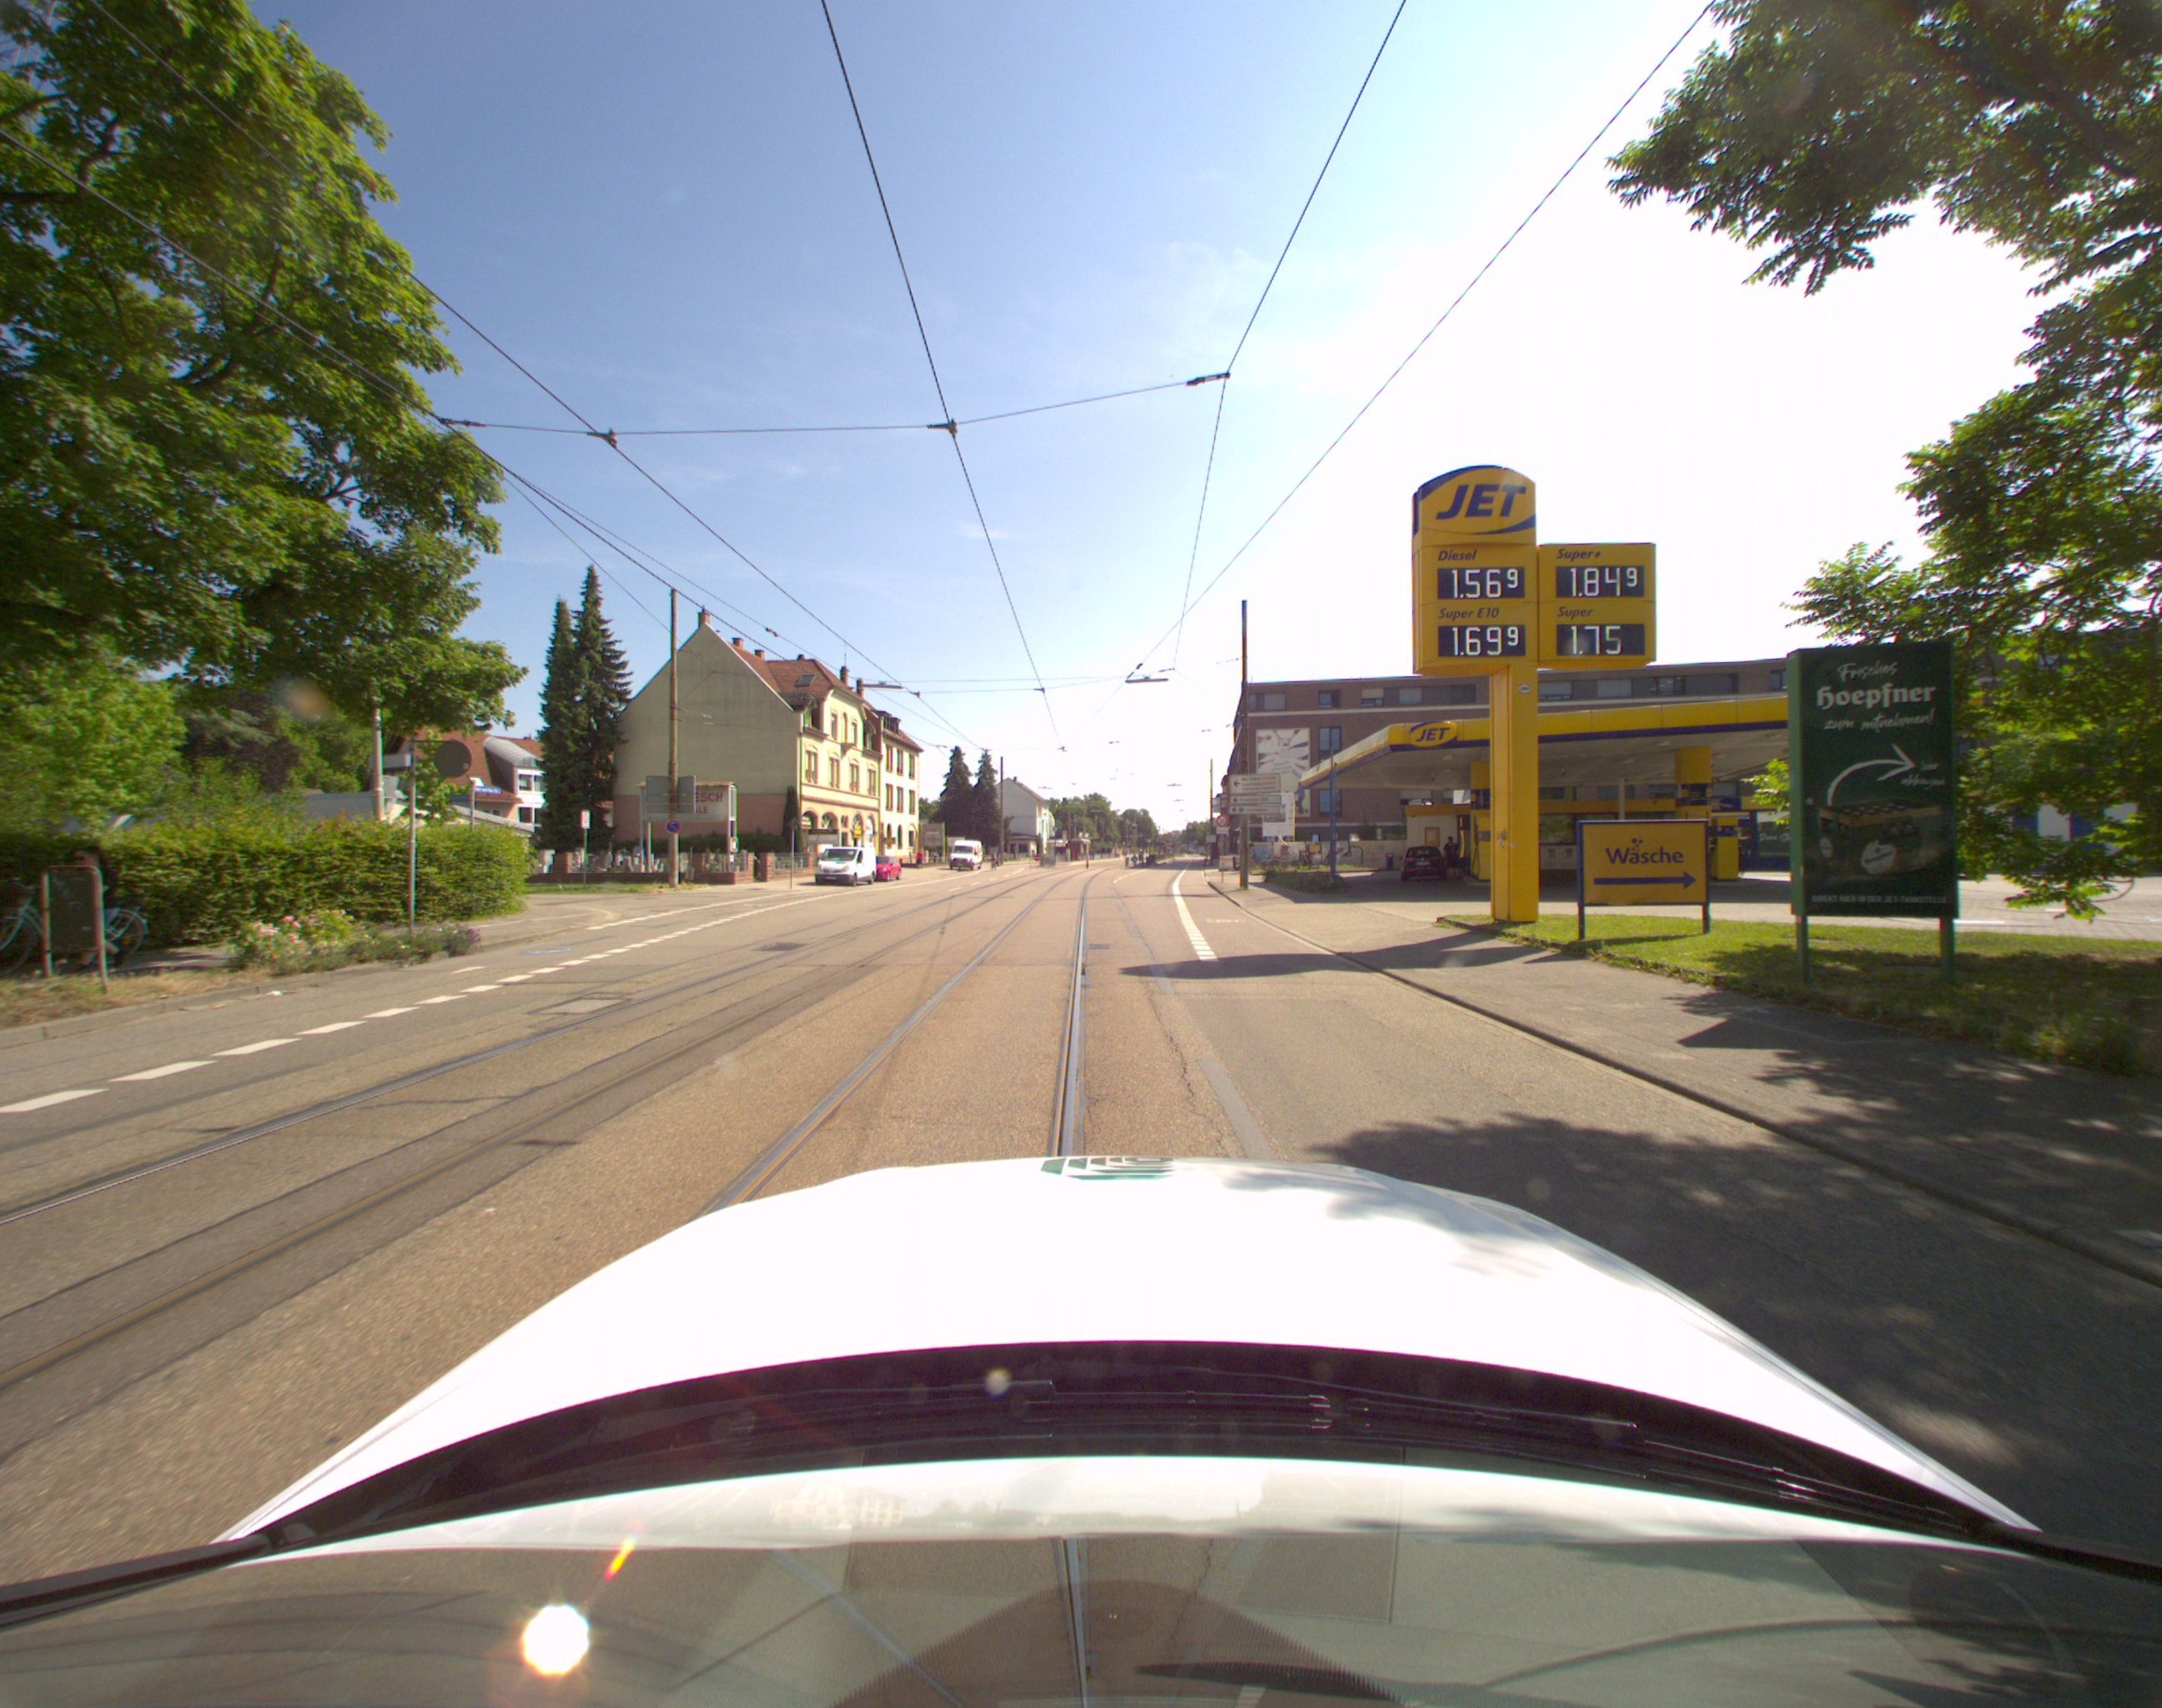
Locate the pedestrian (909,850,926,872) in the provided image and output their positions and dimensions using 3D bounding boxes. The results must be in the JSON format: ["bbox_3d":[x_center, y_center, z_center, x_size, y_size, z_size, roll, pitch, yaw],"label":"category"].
[{"bbox_3d":[-13.372,0.583,66.623,0.936,1.815,1.133,0,0,10],"label":"pedestrian"}]

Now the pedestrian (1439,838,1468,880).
[{"bbox_3d":[15.463,0.195,33.817,0.852,1.725,0.746,-1,1,4],"label":"pedestrian"}]

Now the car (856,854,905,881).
[{"bbox_3d":[-11.610,0.757,47.395,1.713,1.406,4.003,-1,1,2],"label":"car"}]

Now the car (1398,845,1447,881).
[{"bbox_3d":[14.896,0.352,35.408,1.739,1.455,4.435,-1,0,25],"label":"car"}]

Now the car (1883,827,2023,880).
[{"bbox_3d":[35.112,-0.021,33.019,1.740,1.982,5.335,-1,0,22],"label":"car"}]

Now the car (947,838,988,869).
[{"bbox_3d":[-9.871,-0.014,71.193,2.320,2.535,6.510,2,0,2],"label":"car"}]

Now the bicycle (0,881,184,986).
[{"bbox_3d":[-12.575,0.935,10.086,0.634,1.117,2.067,-1,0,0],"label":"bicycle"}]

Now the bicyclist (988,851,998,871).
[{"bbox_3d":[-7.294,0.578,67.705,0.714,1.724,0.988,-1,0,0],"label":"bicyclist"}]

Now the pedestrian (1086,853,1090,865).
[{"bbox_3d":[0.983,0.676,115.221,0.414,1.690,0.706,0,0,-5],"label":"pedestrian"}]

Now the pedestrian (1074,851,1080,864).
[{"bbox_3d":[-0.521,0.470,104.325,0.703,1.690,0.416,0,0,0],"label":"pedestrian"}]

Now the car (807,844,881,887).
[{"bbox_3d":[-11.860,0.539,41.108,2.075,2.013,4.911,0,0,3],"label":"car"}]

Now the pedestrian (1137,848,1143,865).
[{"bbox_3d":[6.228,0.236,86.094,0.554,1.760,0.794,-1,0,2],"label":"pedestrian"}]

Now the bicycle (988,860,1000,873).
[{"bbox_3d":[-7.237,1.037,67.669,0.606,0.984,2.166,-1,0,3],"label":"bicycle"}]

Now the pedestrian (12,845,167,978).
[{"bbox_3d":[-12.282,0.684,10.127,0.684,1.563,0.987,1,0,-4],"label":"pedestrian"}]
